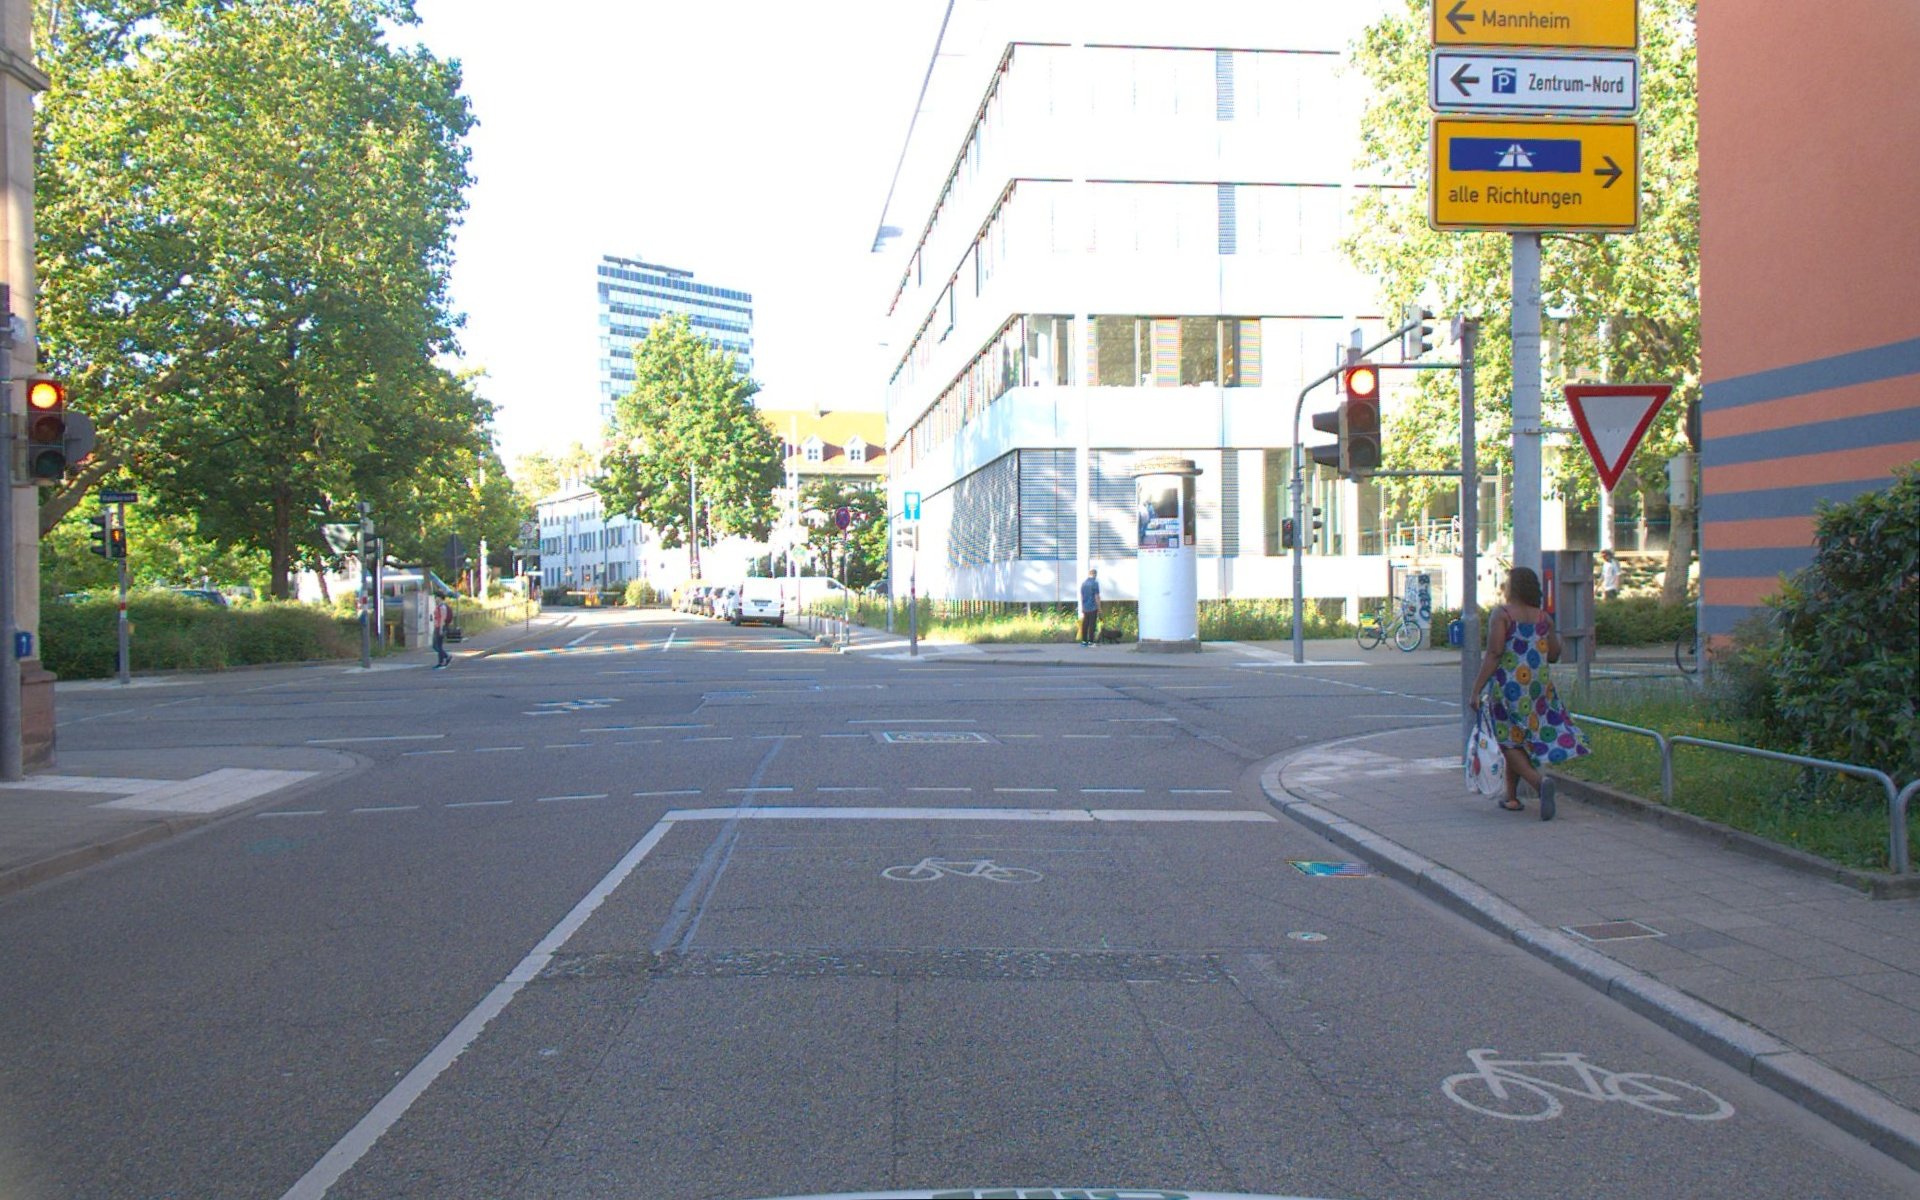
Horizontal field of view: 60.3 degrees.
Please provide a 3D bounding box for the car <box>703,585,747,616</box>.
[{"bbox_3d":[-11.543,0.015,81.082,1.675,1.449,4.223,-1,1,-14],"label":"car"}]

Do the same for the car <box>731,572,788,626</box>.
[{"bbox_3d":[-7.863,-0.049,64.534,2.029,1.997,4.229,-1,0,-9],"label":"car"}]

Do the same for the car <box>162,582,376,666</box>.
[{"bbox_3d":[-15.765,0.518,37.917,4.146,1.808,1.901,-1,0,-9],"label":"car"}]

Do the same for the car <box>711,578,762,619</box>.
[{"bbox_3d":[-10.354,-0.076,76.415,1.913,1.826,4.224,-1,1,-13],"label":"car"}]

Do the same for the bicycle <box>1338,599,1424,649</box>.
[{"bbox_3d":[9.223,0.511,36.261,0.460,1.067,1.886,-1,0,-42],"label":"bicycle"}]

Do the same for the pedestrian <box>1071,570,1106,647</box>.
[{"bbox_3d":[3.015,0.190,38.839,0.640,1.766,0.811,-1,0,-7],"label":"pedestrian"}]

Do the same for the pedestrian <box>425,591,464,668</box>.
[{"bbox_3d":[-10.986,0.619,35.257,0.703,1.627,0.612,-1,0,-25],"label":"pedestrian"}]

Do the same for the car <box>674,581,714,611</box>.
[{"bbox_3d":[-15.379,-0.255,95.439,2.063,1.687,4.463,-1,1,-11],"label":"car"}]

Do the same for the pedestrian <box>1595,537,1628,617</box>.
[{"bbox_3d":[15.462,-0.536,39.248,0.526,1.863,1.042,-1,0,11],"label":"pedestrian"}]

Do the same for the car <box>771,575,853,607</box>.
[{"bbox_3d":[-9.176,-0.543,102.688,4.804,1.905,1.990,1,-1,-17],"label":"car"}]

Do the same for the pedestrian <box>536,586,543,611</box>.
[{"bbox_3d":[-25.992,-0.082,102.192,0.373,1.561,0.444,-1,0,-13],"label":"pedestrian"}]

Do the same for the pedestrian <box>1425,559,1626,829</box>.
[{"bbox_3d":[3.577,0.574,10.538,0.934,1.600,0.750,-4,0,1],"label":"pedestrian"}]

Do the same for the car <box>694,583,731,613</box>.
[{"bbox_3d":[-12.851,-0.101,85.654,1.674,1.490,4.226,-1,1,-11],"label":"car"}]
